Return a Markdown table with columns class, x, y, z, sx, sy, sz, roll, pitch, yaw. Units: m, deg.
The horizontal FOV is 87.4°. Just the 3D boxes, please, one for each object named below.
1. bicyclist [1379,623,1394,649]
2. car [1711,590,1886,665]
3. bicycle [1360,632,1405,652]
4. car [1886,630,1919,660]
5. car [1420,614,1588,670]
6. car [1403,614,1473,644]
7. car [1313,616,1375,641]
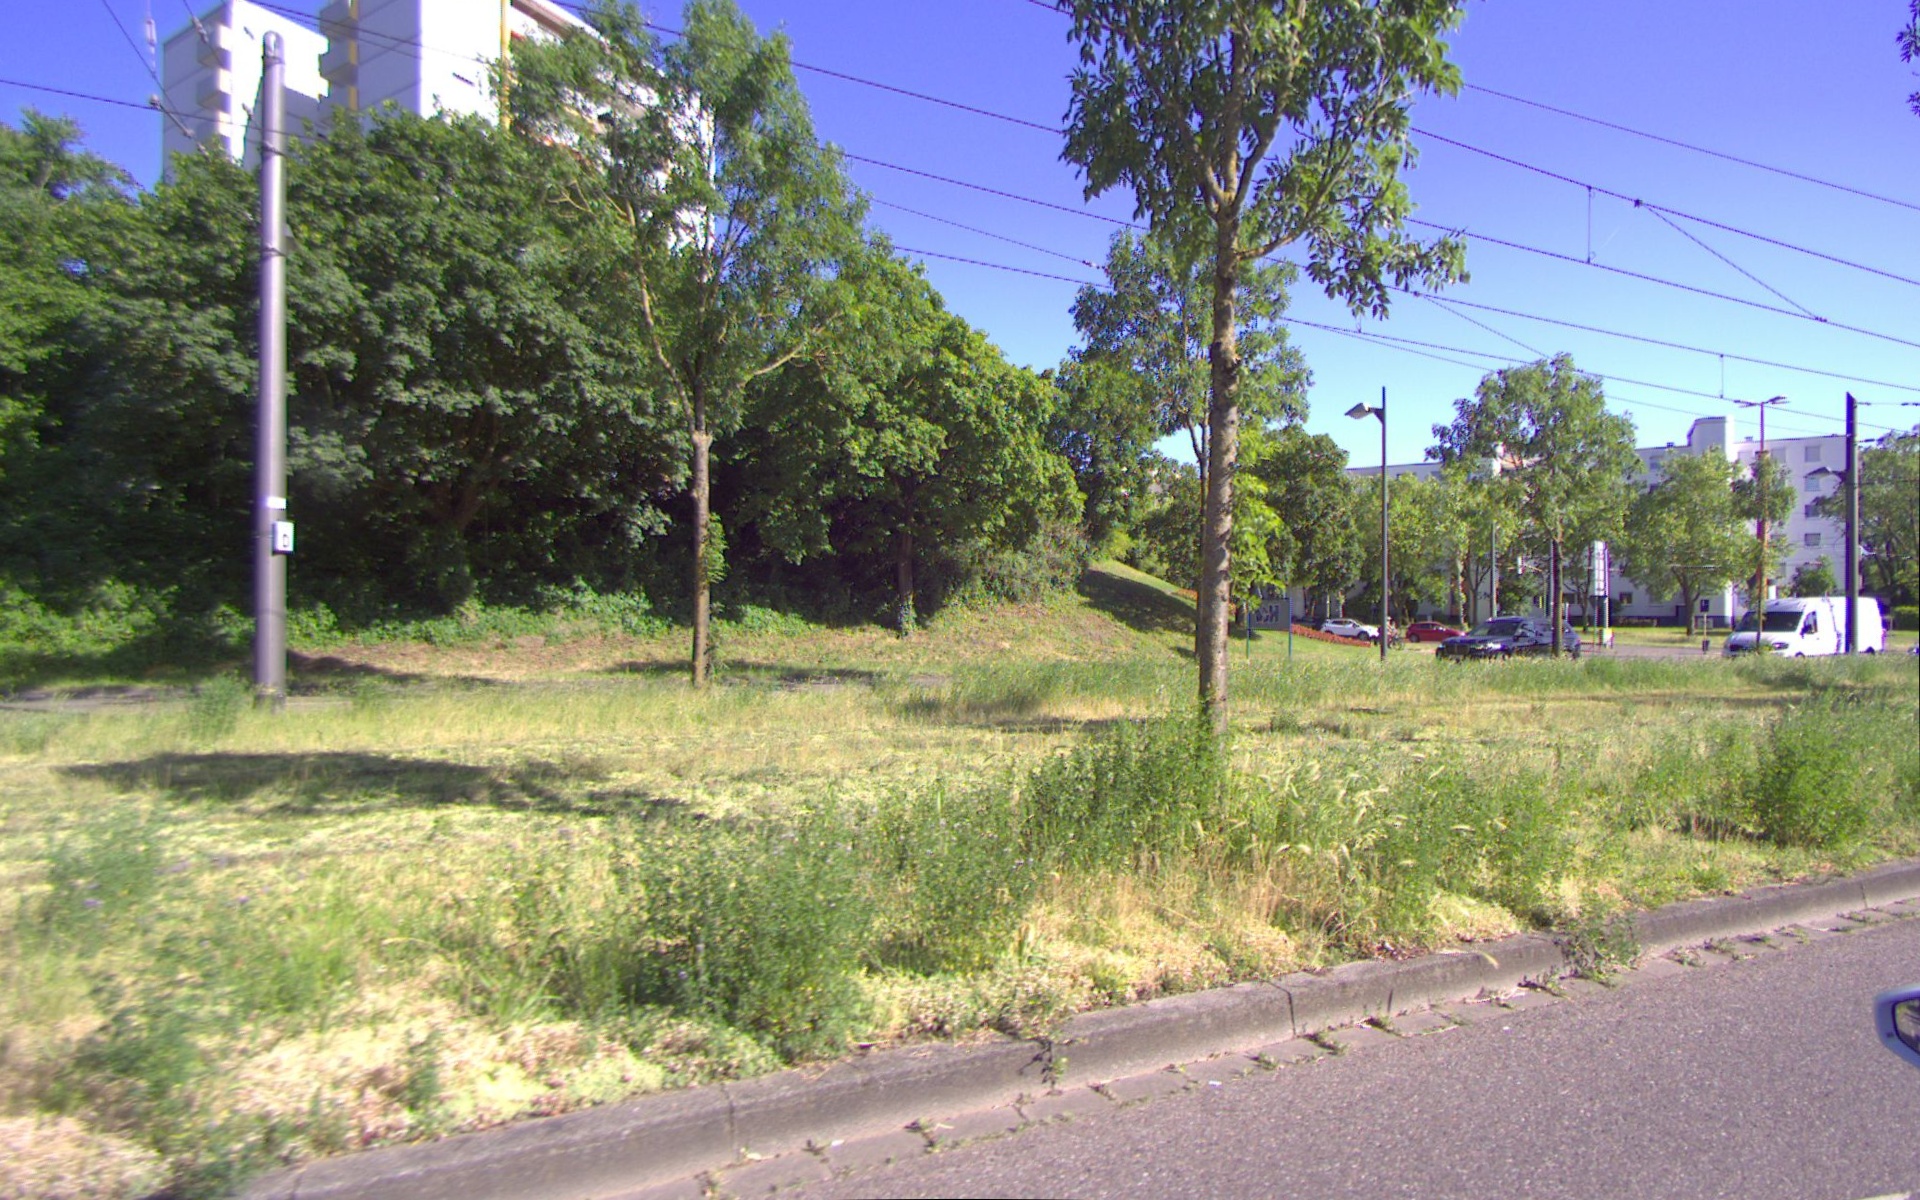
| class | x | y | z | sx | sy | sz | roll | pitch | yaw |
| --- | --- | --- | --- | --- | --- | --- | --- | --- | --- |
| bicyclist | 24.160 | 2.049 | 56.926 | 0.742 | 1.449 | 0.752 | 1 | 0 | 20 |
| car | 28.977 | 0.944 | 34.665 | 6.789 | 2.400 | 2.033 | 1 | 0 | -26 |
| bicycle | 23.962 | 2.377 | 57.001 | 2.314 | 1.095 | 0.474 | 1 | 0 | 20 |
| car | 44.597 | 2.055 | 46.054 | 3.946 | 1.310 | 1.792 | 1 | 0 | -25 |
| car | 17.121 | 1.295 | 31.578 | 5.203 | 1.605 | 1.987 | 1 | 0 | -26 |
| car | 33.510 | 2.026 | 70.477 | 4.203 | 1.926 | 1.994 | 1 | 0 | 34 |
| car | 28.563 | 2.093 | 74.726 | 3.933 | 1.773 | 1.907 | 1 | 0 | 34 |
